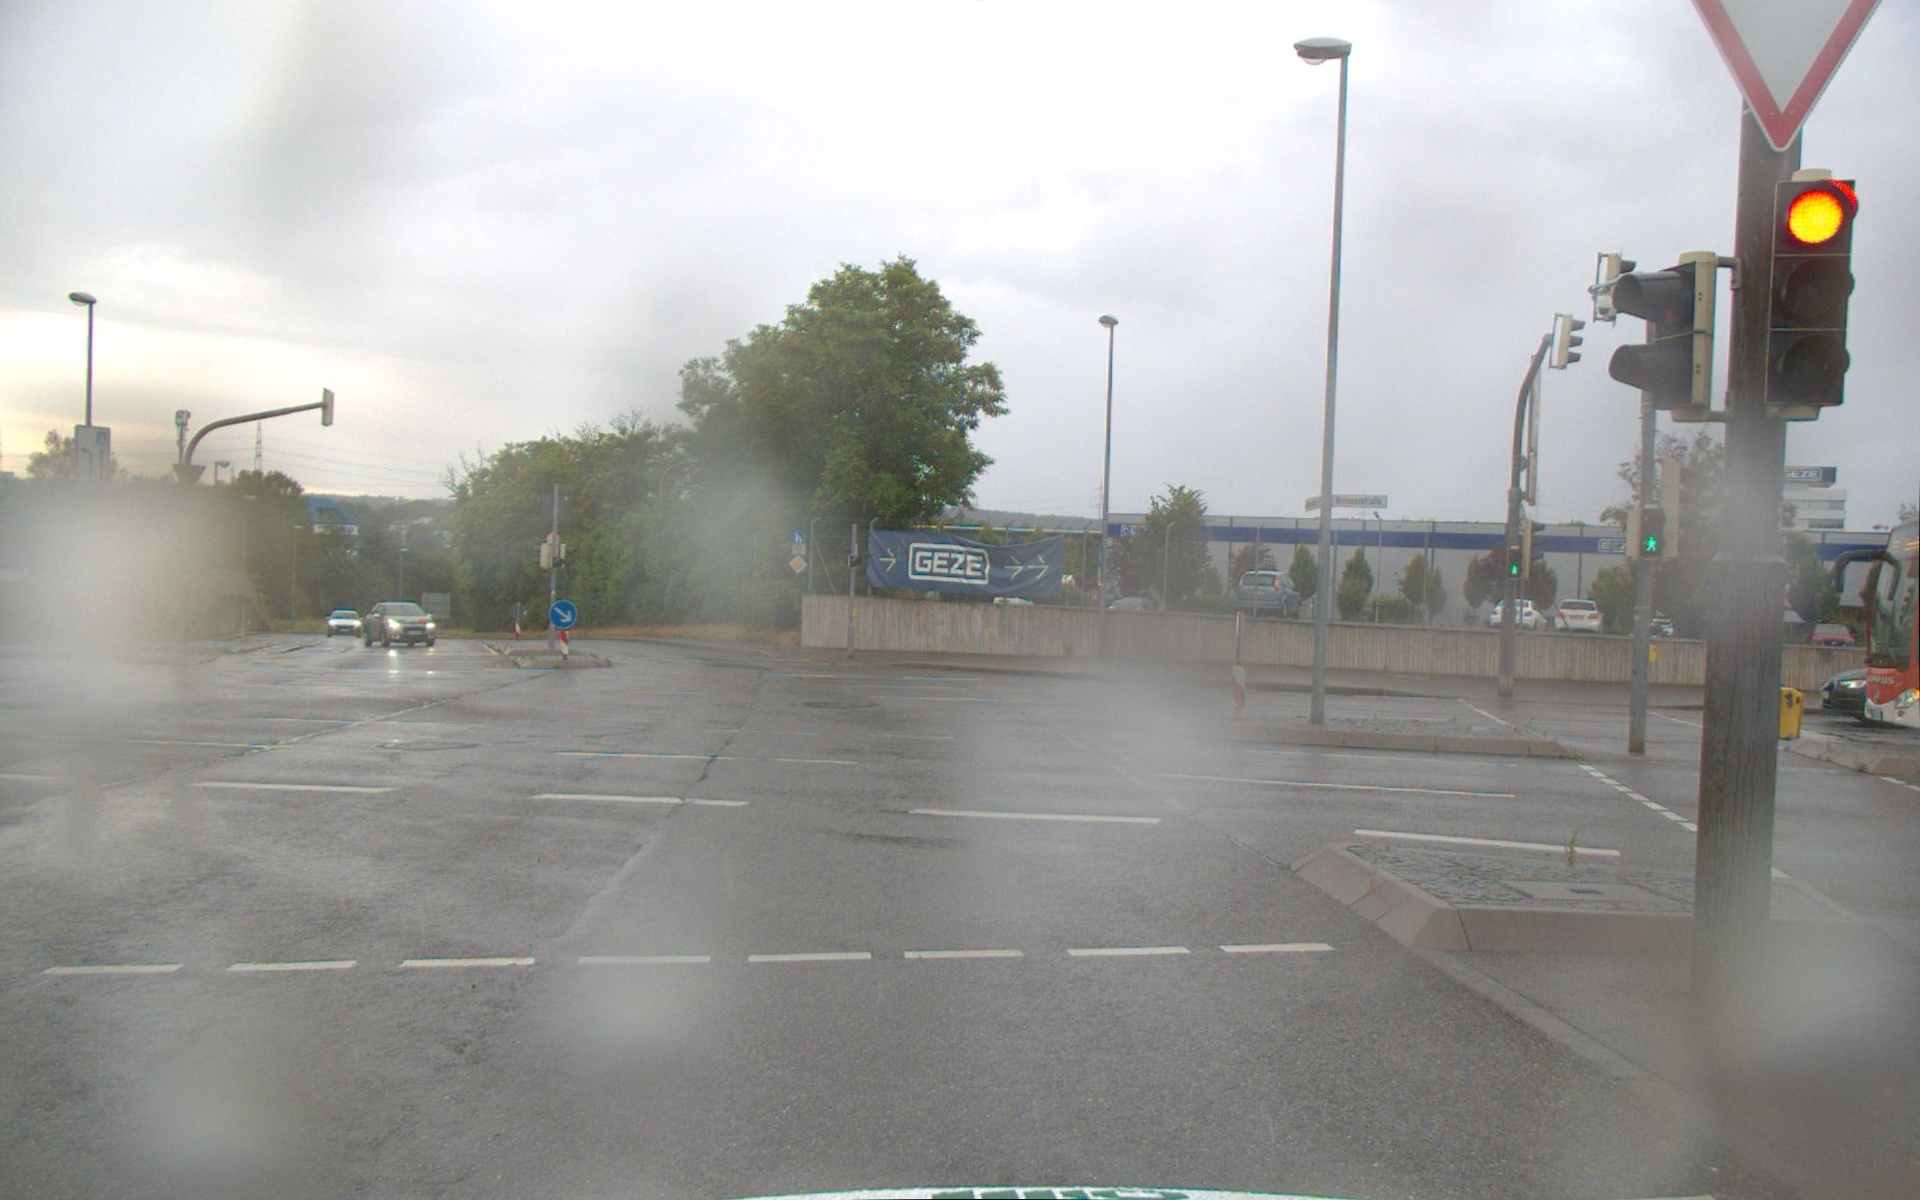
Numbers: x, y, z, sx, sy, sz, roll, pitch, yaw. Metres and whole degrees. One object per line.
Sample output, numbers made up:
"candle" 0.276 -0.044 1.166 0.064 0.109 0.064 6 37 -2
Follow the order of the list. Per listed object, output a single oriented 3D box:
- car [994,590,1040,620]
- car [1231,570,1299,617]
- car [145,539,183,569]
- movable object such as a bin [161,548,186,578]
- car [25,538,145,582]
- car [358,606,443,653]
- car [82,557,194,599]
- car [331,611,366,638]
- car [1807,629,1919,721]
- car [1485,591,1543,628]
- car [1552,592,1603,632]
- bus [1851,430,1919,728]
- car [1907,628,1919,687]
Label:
"car" 3.350 0.302 95.948 1.632 1.634 3.531 1 0 20
"car" 10.650 -0.214 57.602 1.707 1.580 3.531 1 0 20
"car" -45.873 -2.638 95.280 1.806 1.467 3.964 3 -2 -27
"movable object such as a bin" -40.964 -1.905 86.163 1.071 1.462 1.434 3 -2 -27
"car" -35.849 -1.619 67.824 3.902 1.614 1.903 1 -2 8
"car" -19.062 0.985 56.264 1.647 1.521 3.950 1 -1 -35
"car" -35.194 -0.935 70.836 3.902 1.614 1.903 1 -2 12
"car" -34.962 1.379 94.700 1.693 1.521 3.979 1 -1 -18
"car" 16.253 1.238 26.680 4.286 1.378 1.827 2 0 16
"car" 23.035 0.418 68.700 1.781 1.459 4.100 1 0 25
"car" 25.450 0.504 68.106 1.820 1.552 4.103 1 0 22
"bus" 17.804 0.059 19.871 11.995 3.638 2.988 3 0 17
"car" 34.956 2.054 58.704 1.707 2.049 3.824 1 0 20
